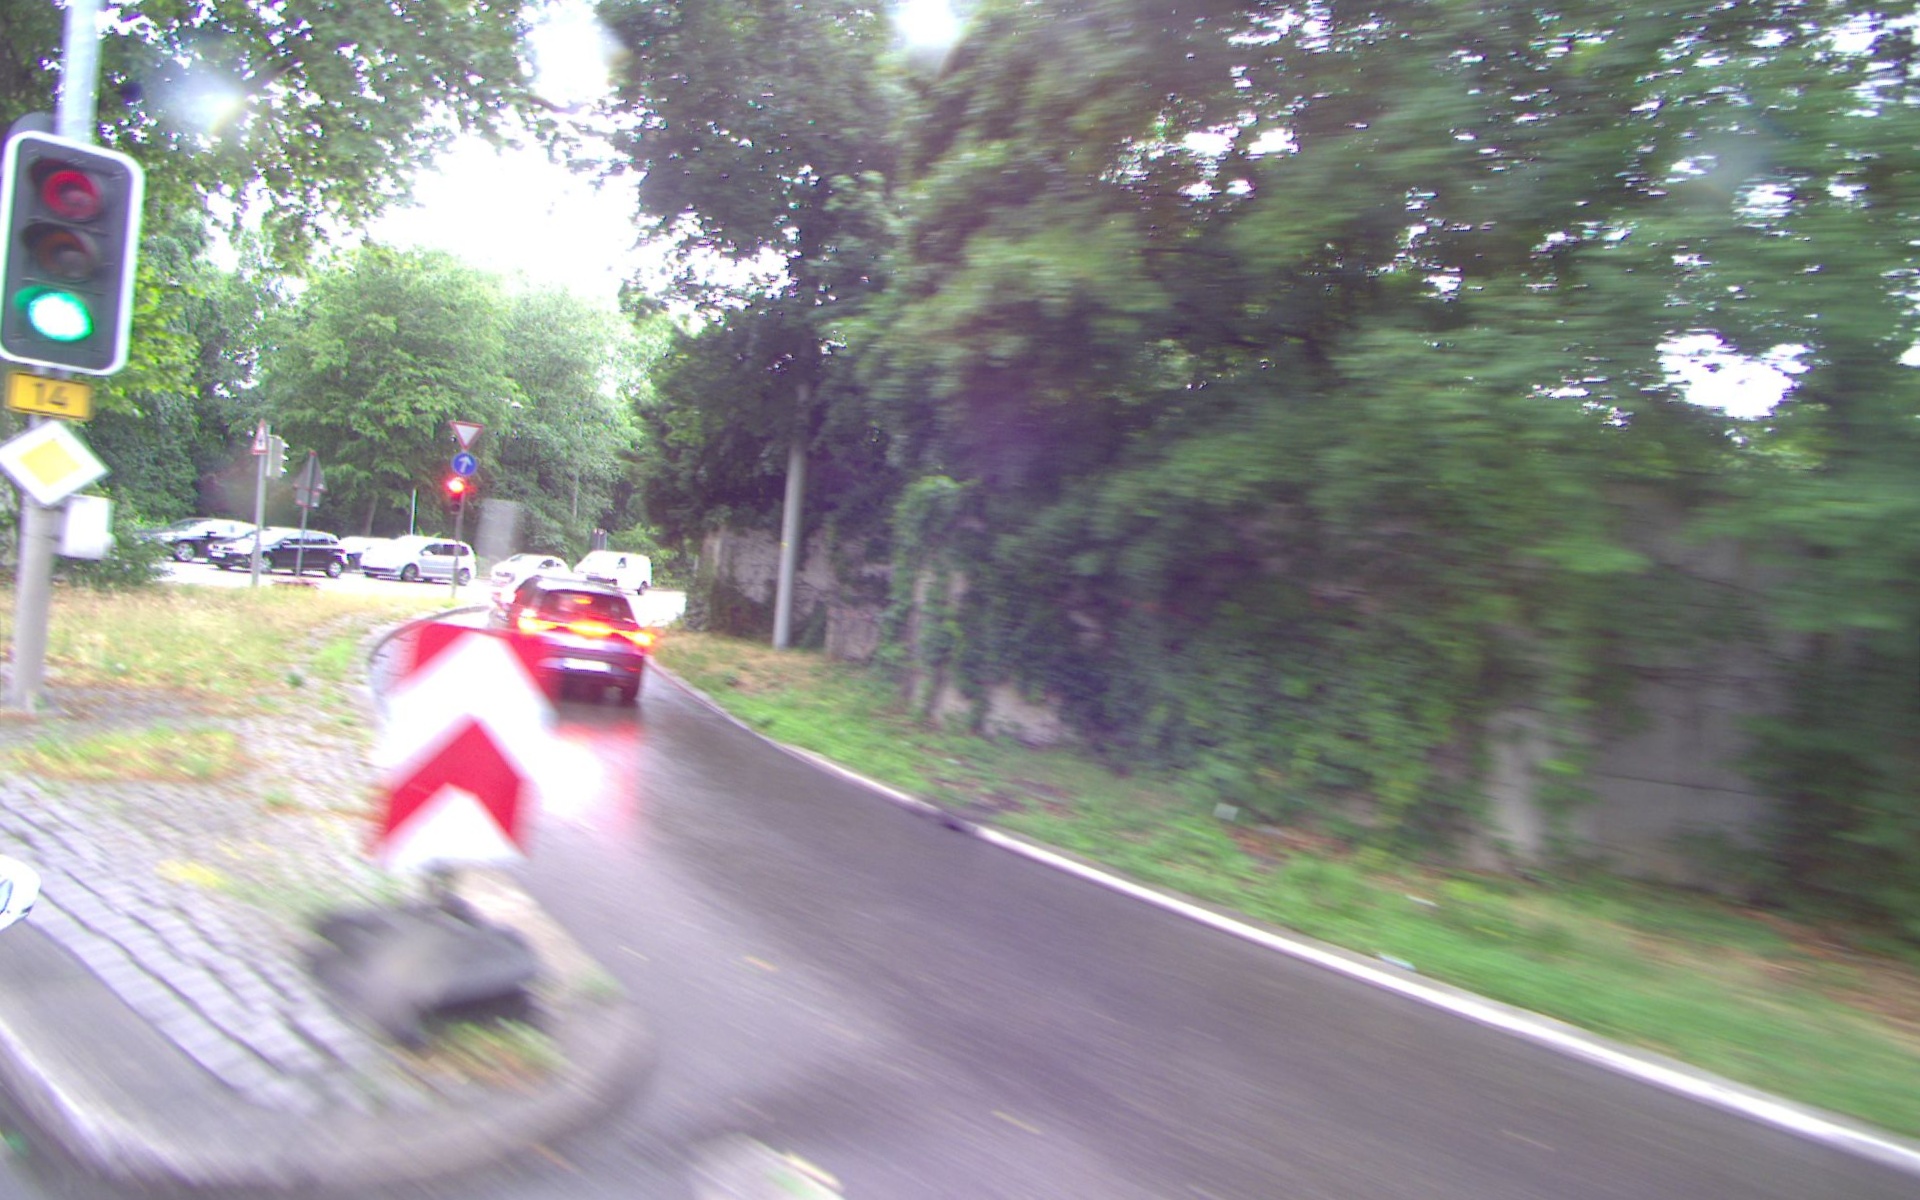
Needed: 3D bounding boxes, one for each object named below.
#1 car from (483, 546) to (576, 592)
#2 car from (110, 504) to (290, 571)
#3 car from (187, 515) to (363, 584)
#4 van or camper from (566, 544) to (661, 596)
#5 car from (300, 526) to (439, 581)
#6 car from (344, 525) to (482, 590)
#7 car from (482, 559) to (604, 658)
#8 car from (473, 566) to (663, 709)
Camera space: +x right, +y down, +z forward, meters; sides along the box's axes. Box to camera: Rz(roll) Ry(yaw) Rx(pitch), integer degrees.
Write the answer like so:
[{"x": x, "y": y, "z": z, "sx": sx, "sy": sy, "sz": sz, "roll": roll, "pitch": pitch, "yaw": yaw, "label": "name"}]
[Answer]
[{"x": -18.375, "y": -1.290, "z": 43.129, "sx": 1.626, "sy": 1.478, "sz": 3.869, "roll": 7, "pitch": -2, "yaw": 10, "label": "car"}, {"x": -24.393, "y": -1.957, "z": 32.486, "sx": 1.913, "sy": 1.457, "sz": 4.218, "roll": 7, "pitch": -2, "yaw": 16, "label": "car"}, {"x": -20.999, "y": -1.495, "z": 31.067, "sx": 1.759, "sy": 1.477, "sz": 4.205, "roll": 7, "pitch": -2, "yaw": 16, "label": "car"}, {"x": -16.860, "y": -1.425, "z": 49.276, "sx": 1.871, "sy": 1.970, "sz": 4.869, "roll": 7, "pitch": -1, "yaw": 14, "label": "van or camper"}, {"x": -22.524, "y": -1.730, "z": 38.598, "sx": 1.795, "sy": 1.418, "sz": 4.452, "roll": 7, "pitch": -2, "yaw": 16, "label": "car"}, {"x": -19.805, "y": -1.497, "z": 36.635, "sx": 1.871, "sy": 1.699, "sz": 4.215, "roll": 7, "pitch": -2, "yaw": 16, "label": "car"}, {"x": -8.424, "y": 0.092, "z": 20.198, "sx": 1.837, "sy": 1.464, "sz": 4.591, "roll": 11, "pitch": -2, "yaw": -24, "label": "car"}, {"x": -5.502, "y": 0.410, "z": 13.758, "sx": 1.736, "sy": 1.418, "sz": 4.383, "roll": 10, "pitch": -2, "yaw": -28, "label": "car"}]
